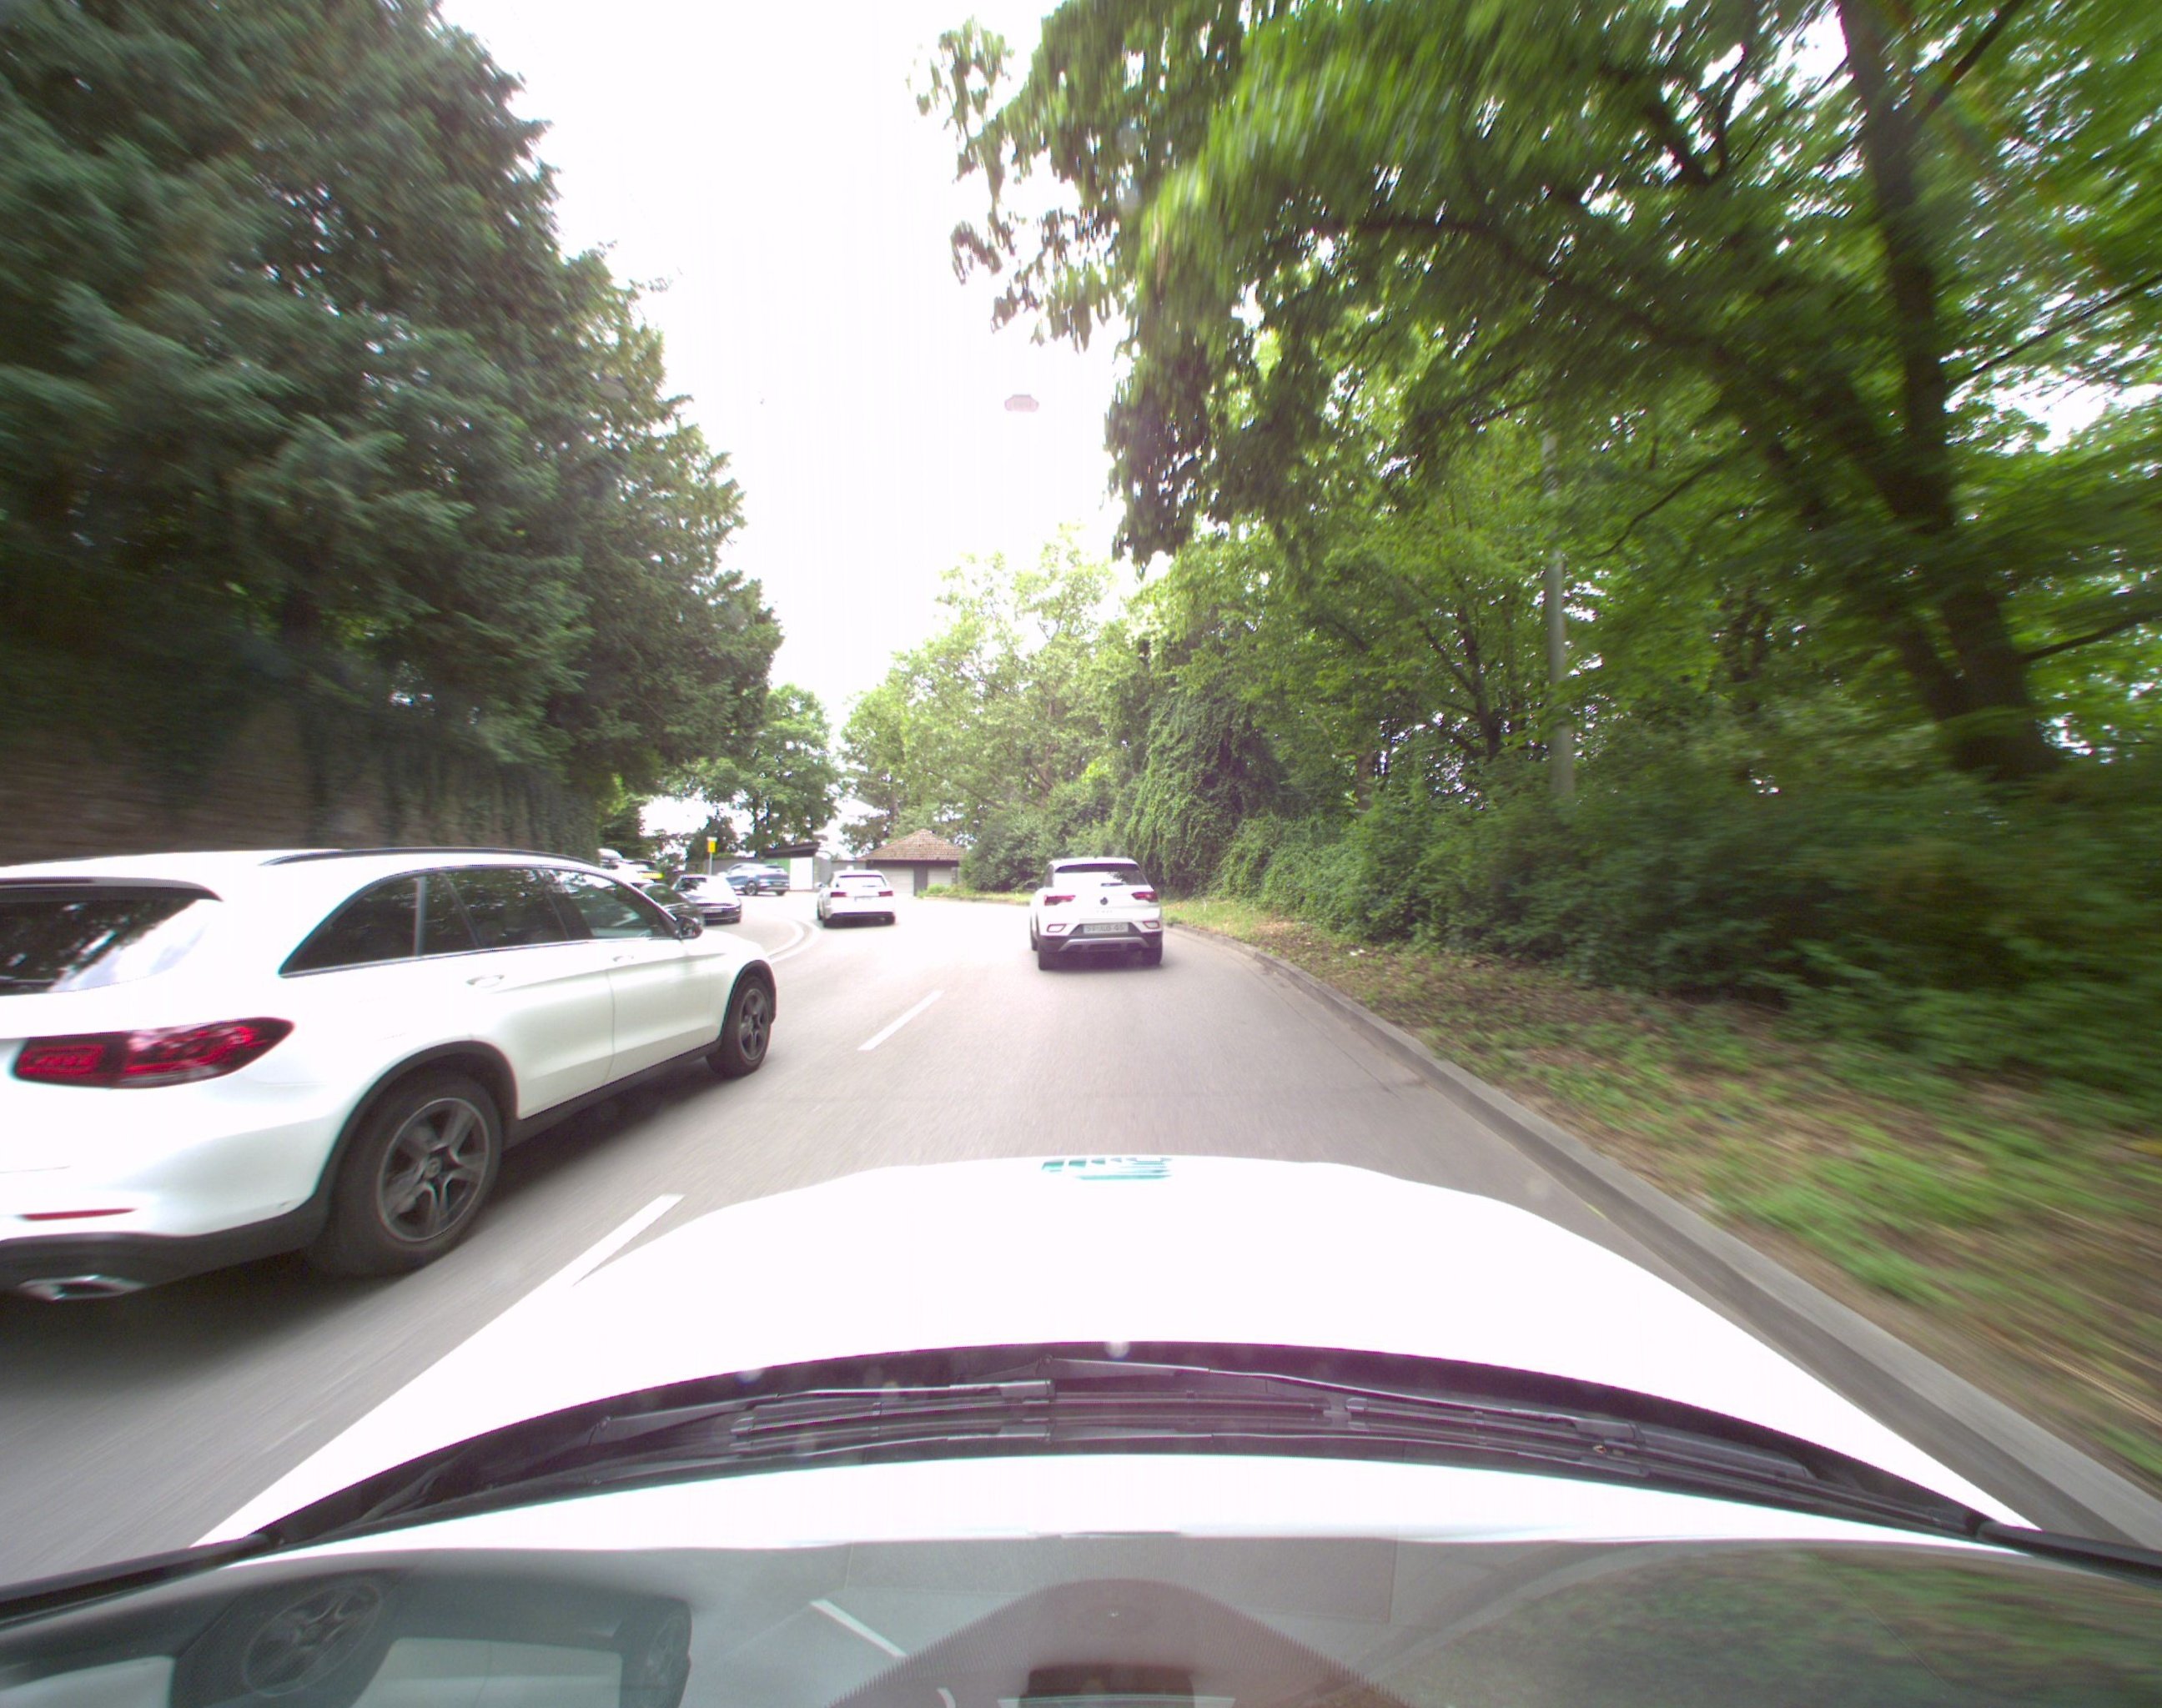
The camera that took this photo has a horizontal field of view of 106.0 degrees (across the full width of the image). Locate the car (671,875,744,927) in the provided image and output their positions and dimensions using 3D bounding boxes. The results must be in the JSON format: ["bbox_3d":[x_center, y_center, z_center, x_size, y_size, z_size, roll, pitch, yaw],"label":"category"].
[{"bbox_3d":[-11.008,1.329,24.082,1.779,1.339,3.928,-2,-1,-24],"label":"car"}]

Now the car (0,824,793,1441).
[{"bbox_3d":[-3.402,0.784,4.481,1.852,1.606,4.671,-1,-1,1],"label":"car"}]

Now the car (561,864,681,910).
[{"bbox_3d":[-17.892,1.240,31.690,4.333,1.653,1.785,-1,0,24],"label":"car"}]

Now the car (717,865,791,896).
[{"bbox_3d":[-15.956,1.262,39.635,3.805,1.420,1.644,-1,-1,38],"label":"car"}]

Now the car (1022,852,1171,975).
[{"bbox_3d":[0.064,0.803,12.967,1.753,1.553,4.327,-2,0,-7],"label":"car"}]

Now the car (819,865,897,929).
[{"bbox_3d":[-6.336,1.120,22.842,1.870,1.534,4.747,-2,-1,-18],"label":"car"}]

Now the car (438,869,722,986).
[{"bbox_3d":[-8.187,1.094,13.955,1.855,1.597,4.632,-2,-1,2],"label":"car"}]
